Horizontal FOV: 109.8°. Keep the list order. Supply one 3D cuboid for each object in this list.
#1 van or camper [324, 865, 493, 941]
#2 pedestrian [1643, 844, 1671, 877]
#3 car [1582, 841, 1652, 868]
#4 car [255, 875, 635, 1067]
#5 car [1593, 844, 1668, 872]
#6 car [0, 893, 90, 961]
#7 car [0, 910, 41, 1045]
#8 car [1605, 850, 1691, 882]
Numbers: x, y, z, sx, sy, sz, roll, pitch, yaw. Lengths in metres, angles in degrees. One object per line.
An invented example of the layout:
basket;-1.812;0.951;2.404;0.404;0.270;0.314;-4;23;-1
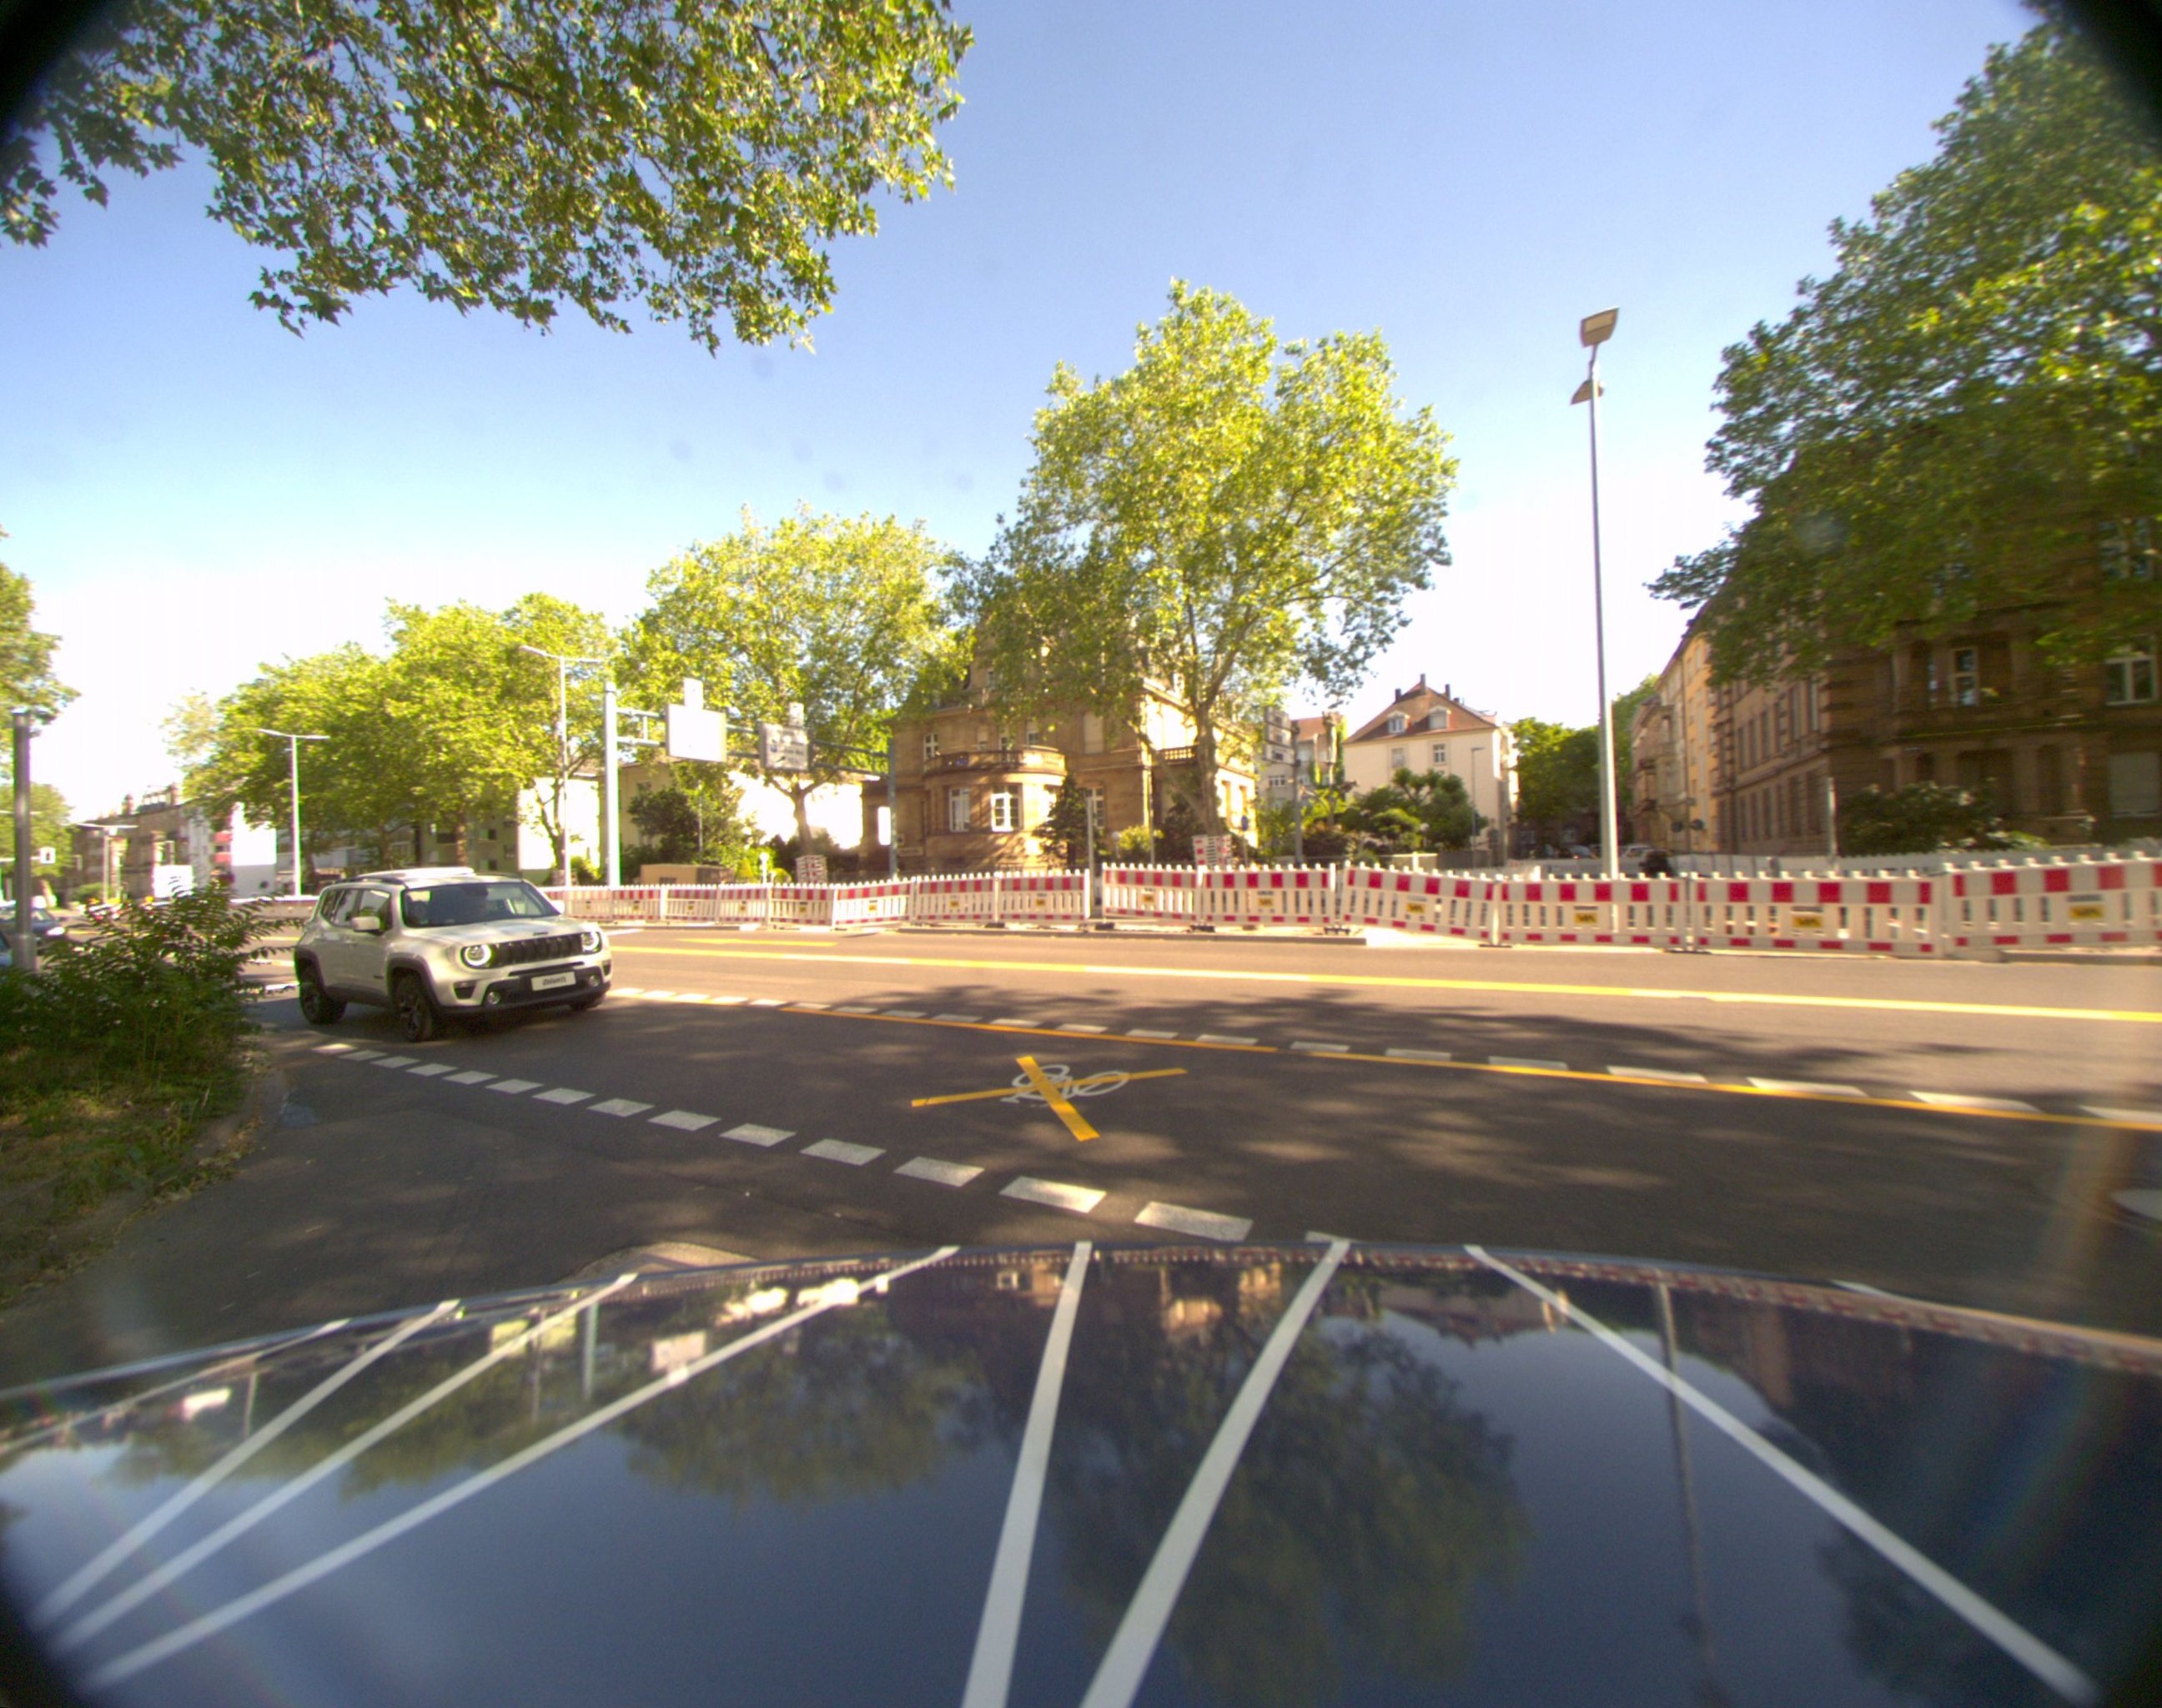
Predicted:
van or camper;-20.113;1.419;22.678;5.315;2.002;2.003;-2;1;29
pedestrian;29.340;0.342;38.718;0.759;1.650;0.828;-2;-1;5
car;37.083;0.035;52.684;3.793;1.725;1.626;-2;-1;32
car;-7.619;1.197;9.028;4.495;1.716;1.873;-2;1;29
car;34.854;0.273;48.292;3.670;1.640;1.603;-2;-1;31
car;-30.636;2.056;21.853;4.495;1.716;1.873;-2;1;29
car;-13.943;1.416;8.837;4.087;1.476;1.628;-2;-2;29
car;32.443;0.682;43.620;3.793;1.725;1.626;-2;-1;32
